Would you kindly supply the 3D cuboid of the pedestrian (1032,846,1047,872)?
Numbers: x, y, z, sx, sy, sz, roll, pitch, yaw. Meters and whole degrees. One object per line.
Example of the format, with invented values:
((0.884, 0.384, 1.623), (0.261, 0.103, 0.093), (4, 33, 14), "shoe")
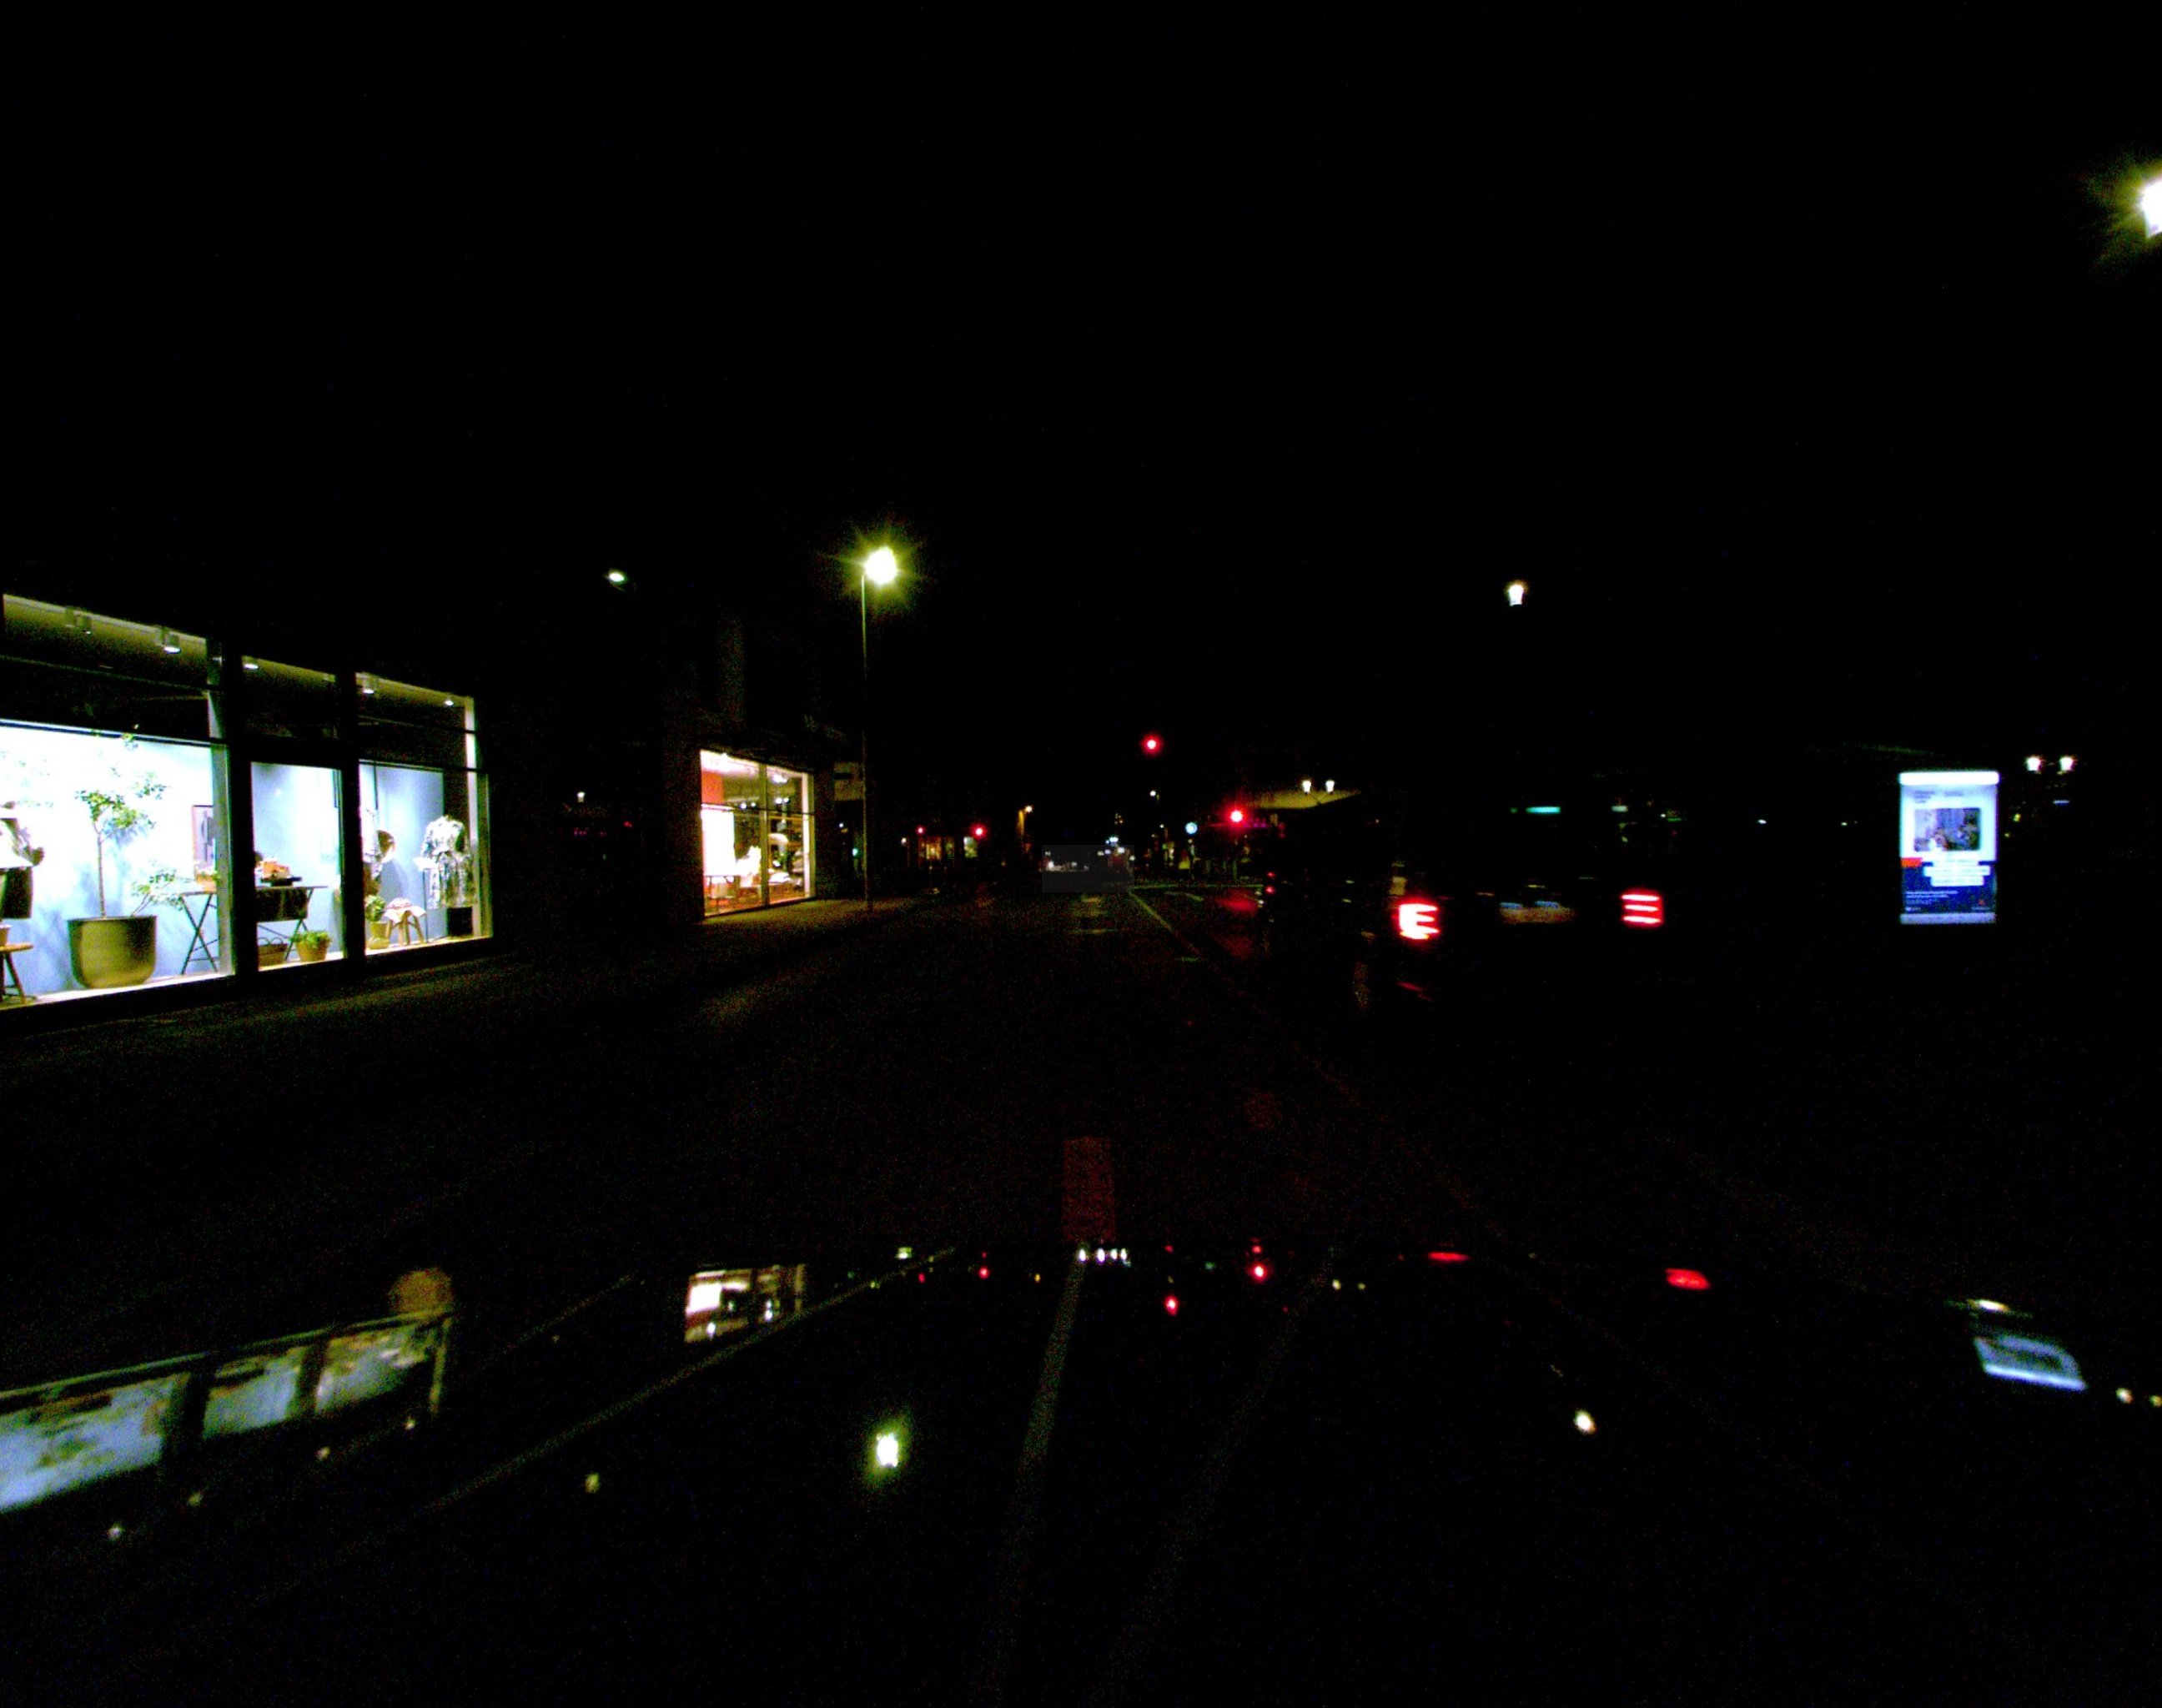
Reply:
((-2.773, 0.340, 50.540), (0.877, 1.723, 0.647), (0, 1, 4), "pedestrian")

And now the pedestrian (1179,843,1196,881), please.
((4.720, 0.350, 33.658), (0.539, 1.672, 0.648), (-2, 1, 23), "pedestrian")

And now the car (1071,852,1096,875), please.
((0.243, 0.697, 60.183), (1.713, 1.660, 3.738), (-2, 1, 3), "car")

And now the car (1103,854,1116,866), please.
((4.291, 0.868, 115.071), (1.879, 1.718, 3.999), (-2, 1, 1), "car")

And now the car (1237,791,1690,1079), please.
((3.021, 0.509, 7.445), (1.971, 1.861, 4.911), (-1, 1, 0), "car")

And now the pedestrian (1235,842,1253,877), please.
((7.559, 0.251, 35.230), (0.581, 1.619, 0.648), (-1, 1, 32), "pedestrian")

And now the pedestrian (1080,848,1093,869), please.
((0.379, 0.340, 54.060), (0.828, 1.487, 0.648), (0, 1, 9), "pedestrian")

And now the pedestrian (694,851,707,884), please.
((-19.819, 0.711, 39.612), (0.525, 1.707, 0.565), (-3, 1, -25), "pedestrian")
